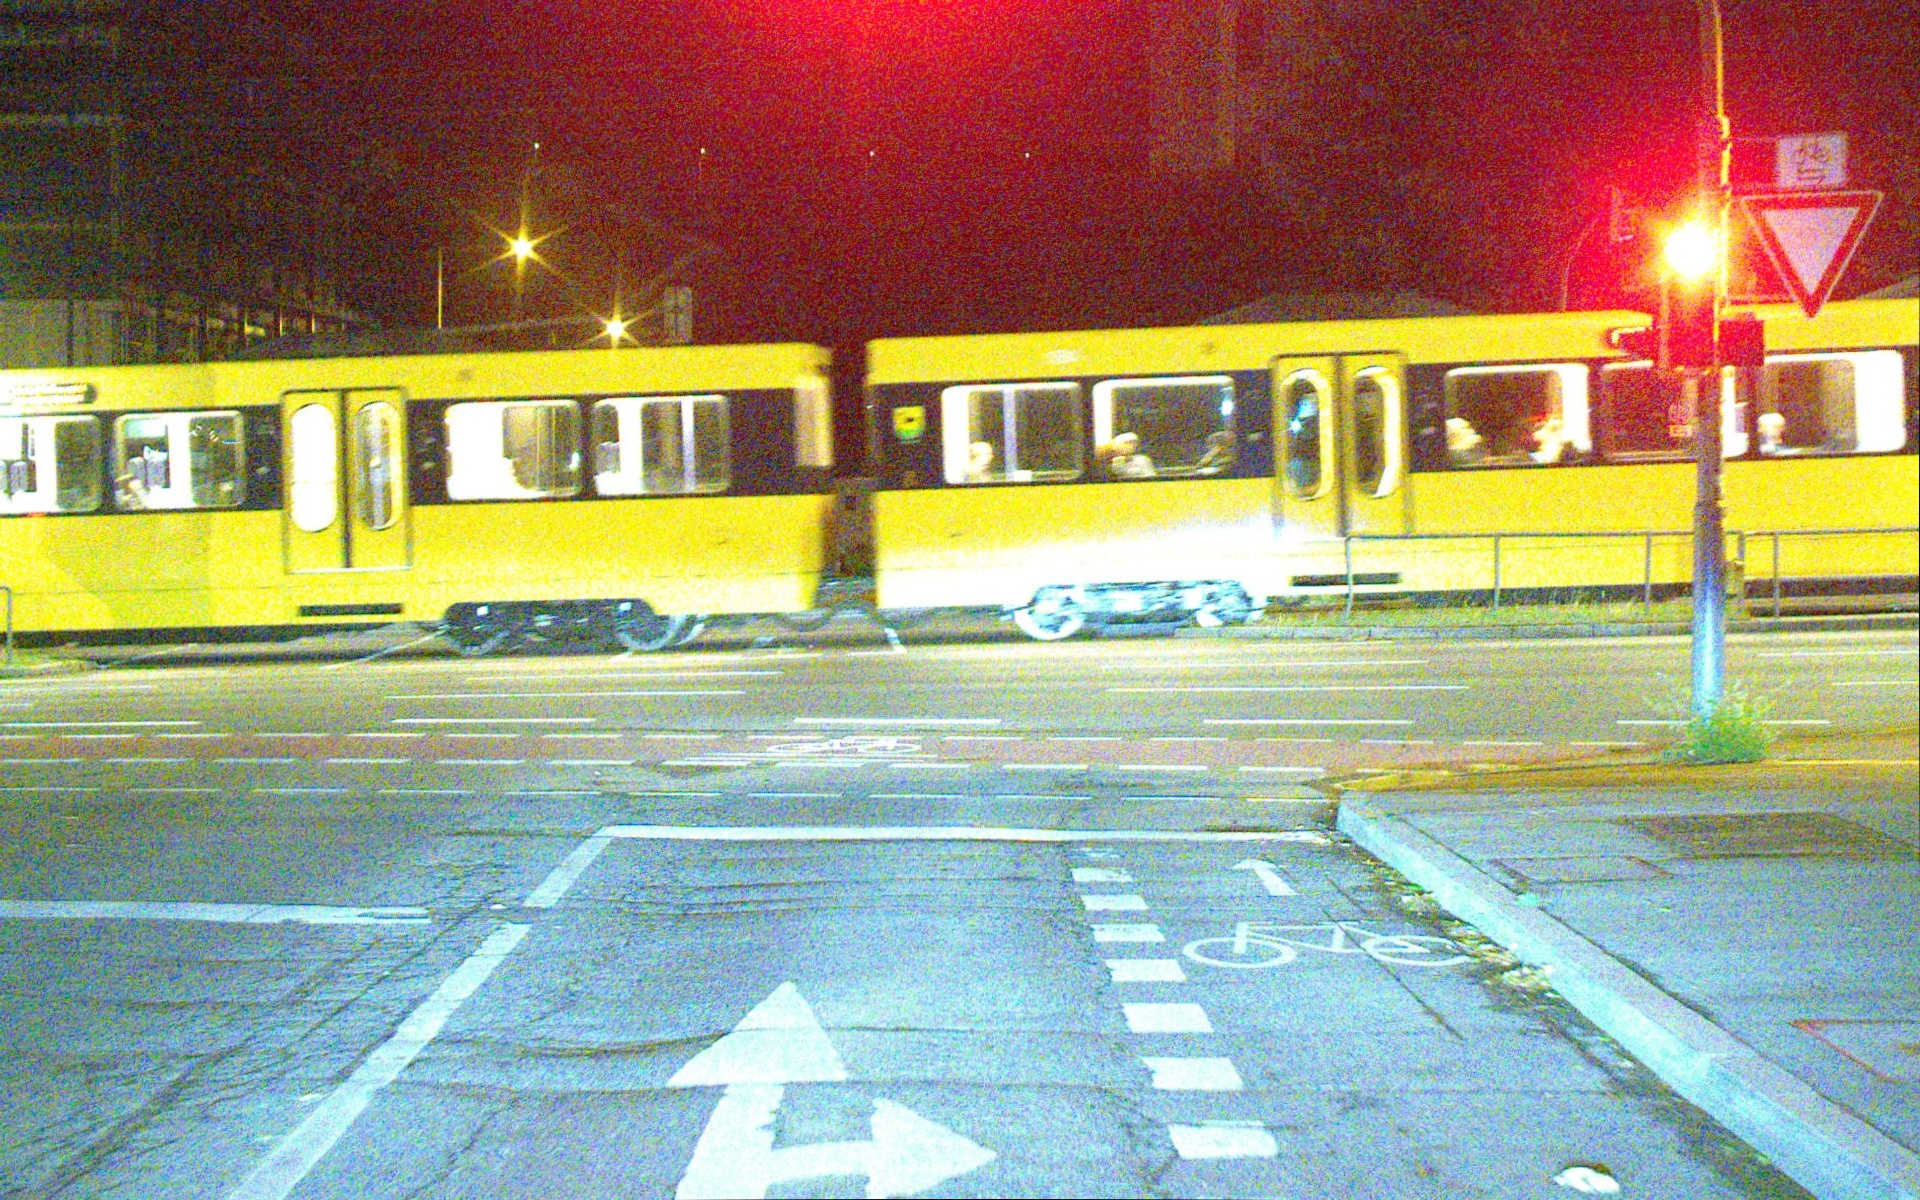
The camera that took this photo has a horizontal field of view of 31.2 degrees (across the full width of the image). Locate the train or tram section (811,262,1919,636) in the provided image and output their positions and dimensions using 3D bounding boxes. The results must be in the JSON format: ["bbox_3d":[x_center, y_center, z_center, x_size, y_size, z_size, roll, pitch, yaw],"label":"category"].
[{"bbox_3d":[8.075,-1.713,38.557,19.177,3.810,2.923,-1,1,5],"label":"train or tram section"}]

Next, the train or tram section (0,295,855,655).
[{"bbox_3d":[-11.267,-1.331,40.408,19.796,3.848,2.940,-1,1,5],"label":"train or tram section"}]
